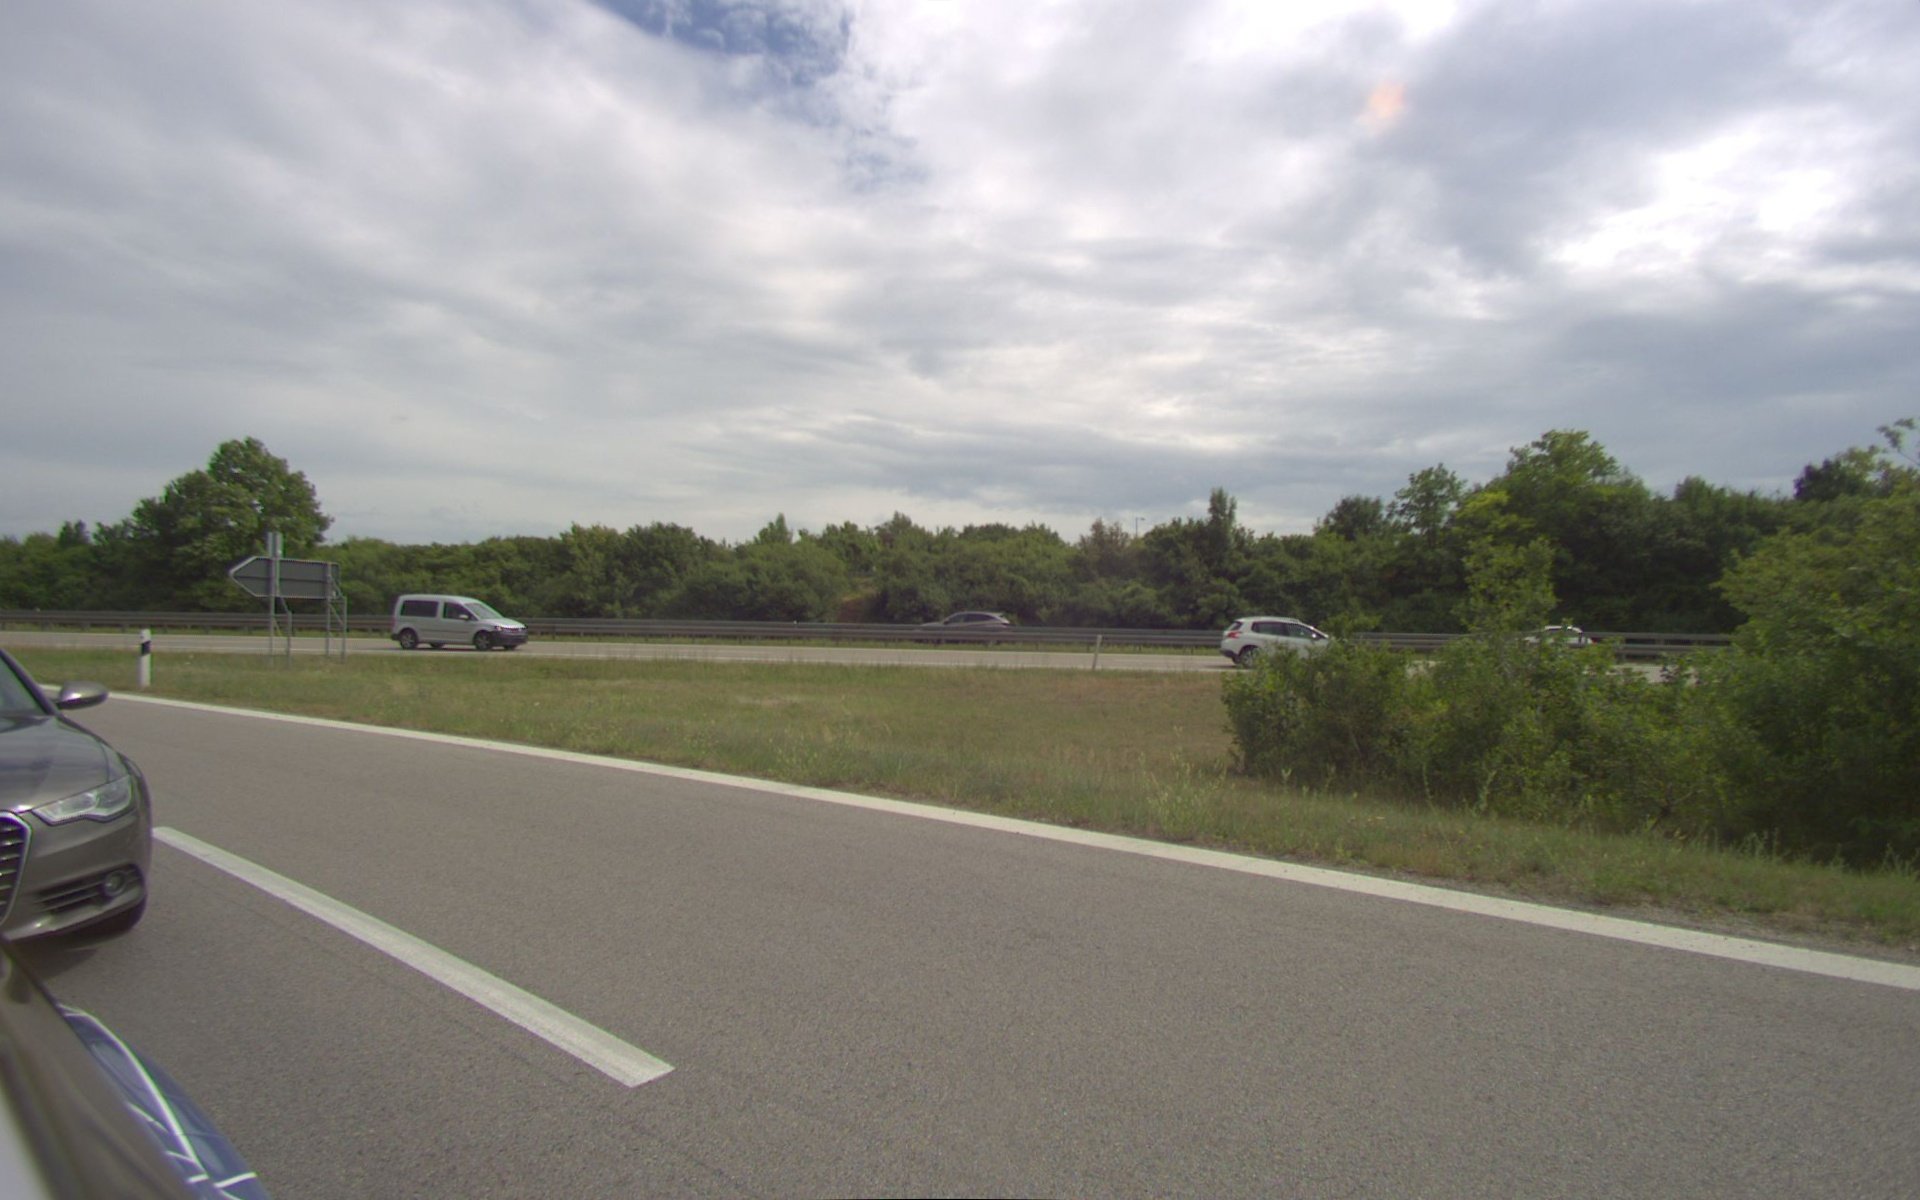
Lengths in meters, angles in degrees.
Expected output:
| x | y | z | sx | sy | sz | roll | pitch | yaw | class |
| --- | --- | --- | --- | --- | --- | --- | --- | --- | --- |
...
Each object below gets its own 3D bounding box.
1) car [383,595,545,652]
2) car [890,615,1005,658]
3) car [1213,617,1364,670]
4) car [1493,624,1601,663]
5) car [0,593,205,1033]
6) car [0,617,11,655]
| x | y | z | sx | sy | sz | roll | pitch | yaw | class |
| --- | --- | --- | --- | --- | --- | --- | --- | --- | --- |
| -16.740 | 0.773 | 34.267 | 4.459 | 1.806 | 2.206 | 1 | -1 | 8 | car |
| -0.514 | 1.602 | 44.828 | 4.921 | 1.806 | 1.712 | 1 | -1 | 8 | car |
| 9.975 | 1.307 | 30.979 | 4.062 | 1.516 | 1.714 | 1 | -1 | 5 | car |
| 24.083 | 1.768 | 41.590 | 3.478 | 1.520 | 1.538 | 1 | -1 | 5 | car |
| -5.320 | 0.768 | 4.662 | 4.535 | 1.526 | 1.973 | -1 | -1 | 40 | car |
| -50.430 | 1.859 | 50.807 | 4.156 | 1.887 | 1.841 | -1 | 0 | 7 | car |
